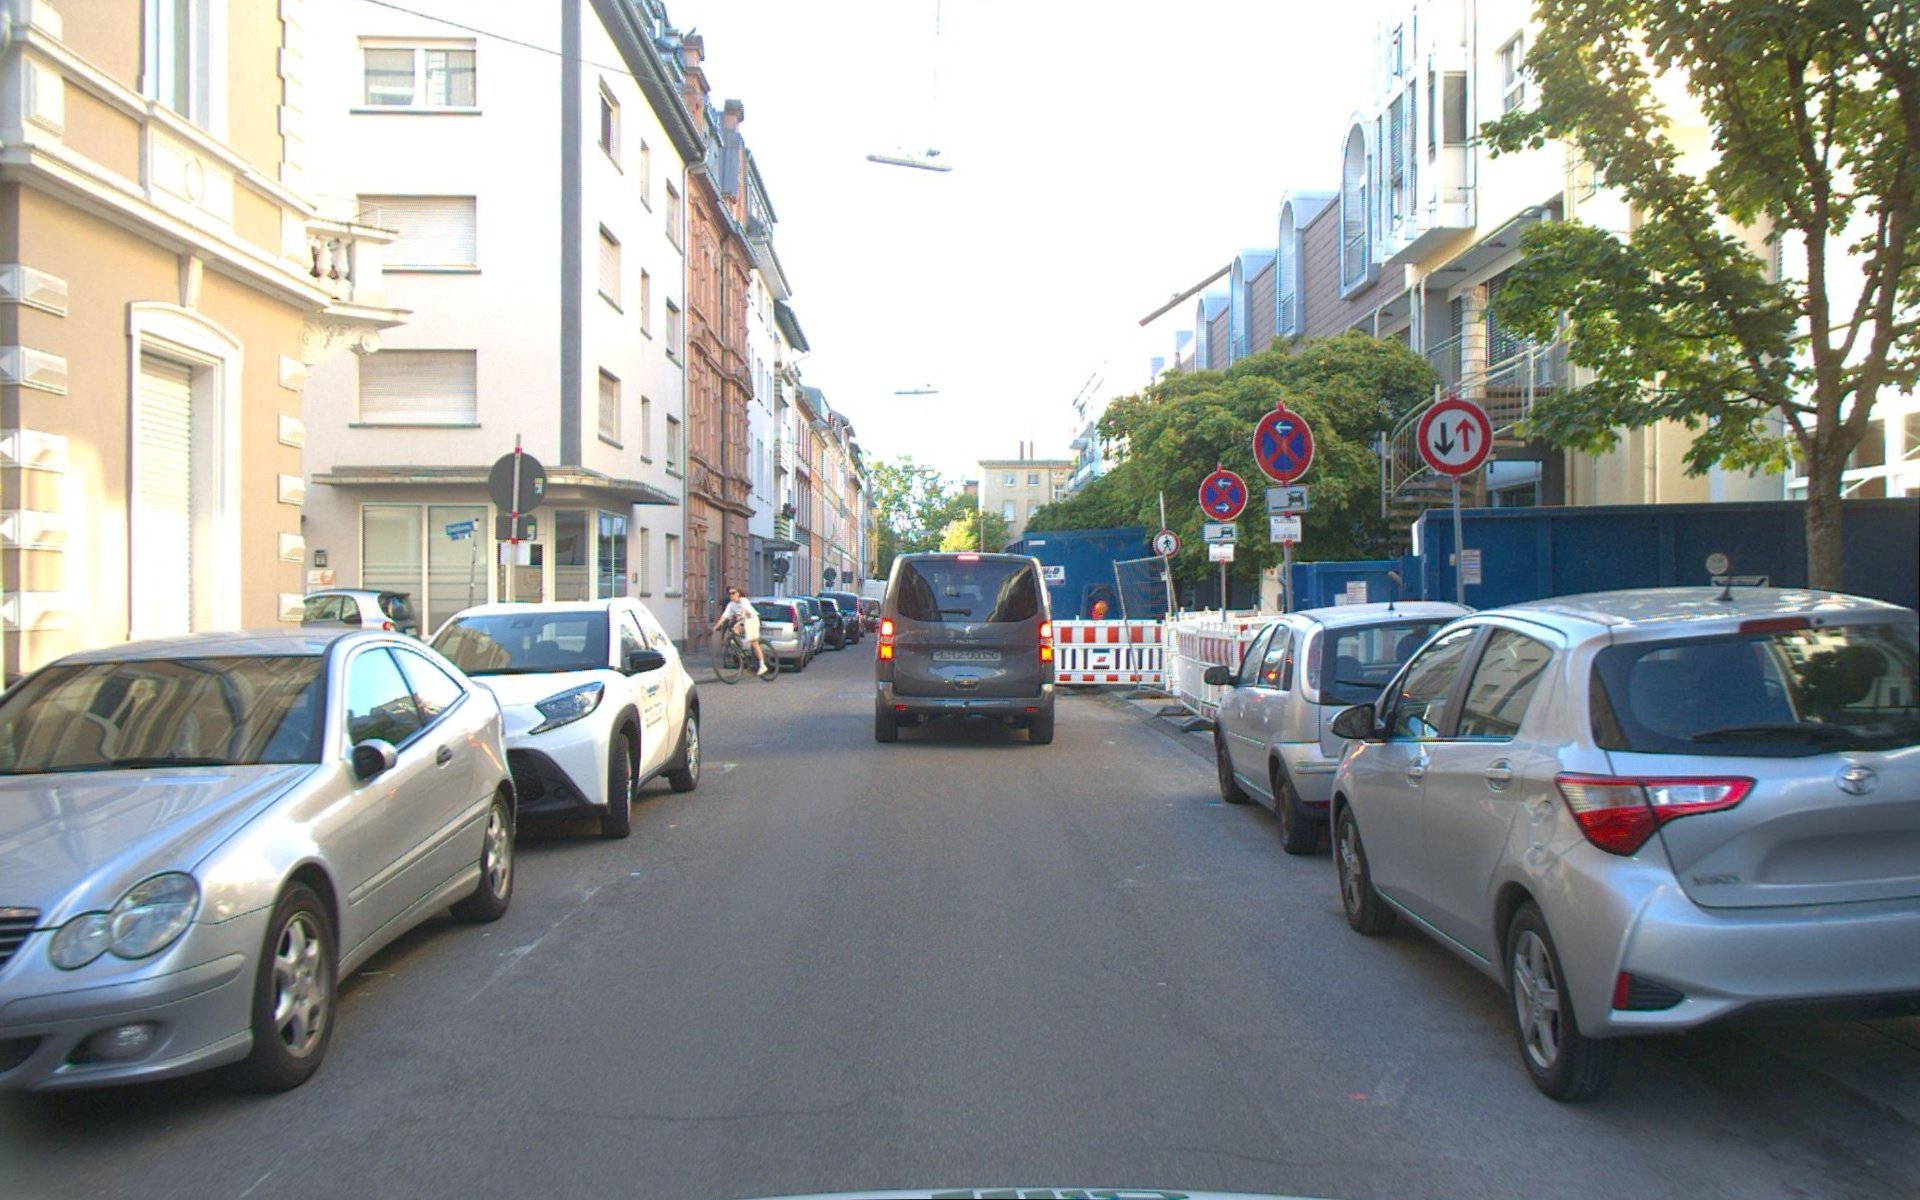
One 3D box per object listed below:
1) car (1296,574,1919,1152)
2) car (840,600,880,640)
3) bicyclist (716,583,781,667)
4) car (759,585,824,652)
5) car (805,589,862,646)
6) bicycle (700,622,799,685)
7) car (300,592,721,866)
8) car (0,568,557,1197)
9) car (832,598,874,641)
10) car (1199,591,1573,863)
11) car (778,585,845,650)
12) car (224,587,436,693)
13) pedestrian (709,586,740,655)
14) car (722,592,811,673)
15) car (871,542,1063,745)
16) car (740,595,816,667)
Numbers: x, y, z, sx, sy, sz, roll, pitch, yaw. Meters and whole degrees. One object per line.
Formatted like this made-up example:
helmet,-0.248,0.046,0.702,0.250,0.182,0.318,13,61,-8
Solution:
car,2.558,0.718,6.505,1.642,1.552,3.970,-1,0,0
car,-5.181,1.039,85.383,1.855,1.878,4.344,5,-1,-5
bicyclist,-3.695,0.433,28.964,0.718,1.437,0.940,1,-1,24
car,-4.778,0.535,47.286,1.634,1.694,3.088,5,-1,-5
car,-4.606,0.647,60.294,1.855,1.878,4.344,5,-1,-5
bicycle,-3.675,0.928,29.036,0.718,1.046,2.114,1,-1,24
car,-2.931,0.745,11.797,1.882,1.533,4.266,-2,0,-1
car,-2.959,0.740,6.332,1.882,1.587,4.265,-2,0,-2
car,-5.237,0.959,80.458,1.855,1.878,4.344,5,-1,-5
car,2.682,0.730,11.237,1.642,1.501,3.730,-1,0,2
car,-4.556,0.544,50.928,1.855,1.749,3.750,5,-1,-5
car,-9.988,0.620,26.357,2.730,1.567,1.593,2,-1,-1
pedestrian,-5.902,0.510,41.483,0.725,1.694,0.703,0,0,-6
car,-4.028,0.669,34.868,1.624,1.485,3.414,5,-1,-5
car,0.079,0.451,18.077,1.827,1.919,4.235,1,-1,0
car,-4.381,0.748,40.185,1.624,1.552,3.414,5,-1,-5
